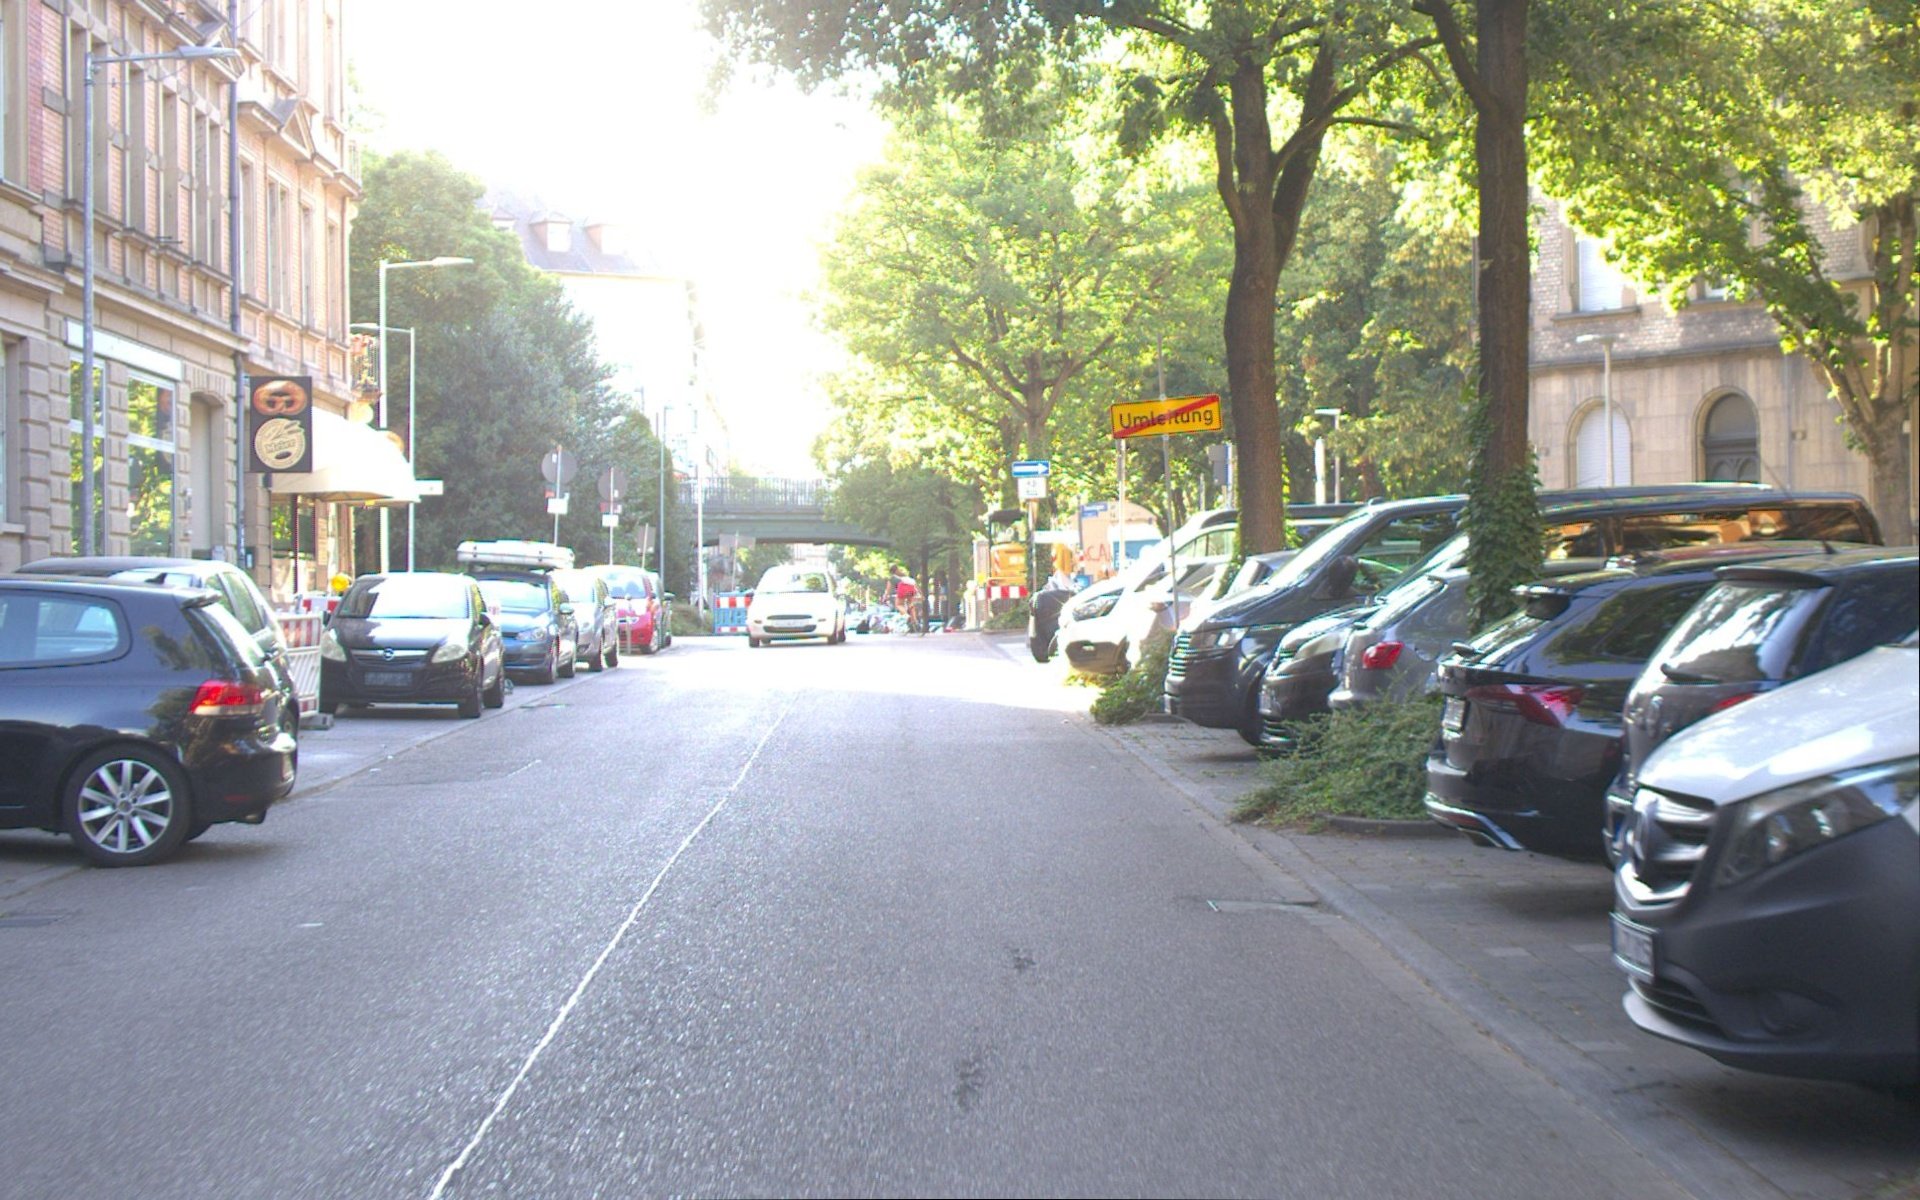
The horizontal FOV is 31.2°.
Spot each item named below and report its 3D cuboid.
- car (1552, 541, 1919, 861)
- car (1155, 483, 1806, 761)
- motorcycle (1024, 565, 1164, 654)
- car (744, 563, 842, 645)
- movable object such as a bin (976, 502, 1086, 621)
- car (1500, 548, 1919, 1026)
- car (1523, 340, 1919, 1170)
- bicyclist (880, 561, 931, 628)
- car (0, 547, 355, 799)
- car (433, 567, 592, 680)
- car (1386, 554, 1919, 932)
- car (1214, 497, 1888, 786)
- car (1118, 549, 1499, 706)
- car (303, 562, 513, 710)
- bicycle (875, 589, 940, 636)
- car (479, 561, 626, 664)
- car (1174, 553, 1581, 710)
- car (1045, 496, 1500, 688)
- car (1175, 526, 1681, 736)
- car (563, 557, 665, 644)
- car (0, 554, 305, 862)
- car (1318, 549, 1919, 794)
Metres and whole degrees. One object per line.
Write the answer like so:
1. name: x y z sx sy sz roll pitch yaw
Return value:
1. car: 5.174 0.443 17.191 4.081 1.492 1.843 -1 1 0
2. car: 3.918 0.146 26.425 4.614 2.007 2.000 -1 1 -3
3. motorcycle: 2.041 0.139 52.713 2.023 1.280 0.904 -2 1 -2
4. car: -3.150 0.051 65.532 1.749 1.504 4.000 0 1 -1
5. movable object such as a bin: 1.658 -0.883 79.601 1.994 2.690 3.108 0 0 12
6. car: 4.105 0.536 12.031 3.986 1.469 1.782 -2 1 -8
7. car: 4.242 0.389 9.135 5.091 1.933 2.158 0 -3 -1
8. bicyclist: -1.142 -0.122 72.273 0.803 1.379 0.985 1 0 -18
9. car: -5.349 0.433 23.527 1.741 1.562 3.895 -1 1 -1
10. car: -5.977 0.287 46.331 1.764 1.432 4.301 0 1 -3
11. car: 4.121 0.535 14.514 4.369 1.450 1.934 -1 1 0
12. car: 4.040 0.259 23.952 4.267 1.878 1.940 -1 1 -4
13. car: 3.659 0.275 36.532 3.840 1.590 1.741 0 1 -1
14. car: -5.745 0.332 36.159 1.703 1.449 4.020 -1 1 -2
15. bicycle: -1.114 0.258 72.202 0.803 0.965 2.109 1 0 -17
16. car: -6.068 0.159 51.548 1.725 1.432 3.996 2 1 -1
17. car: 4.156 0.295 34.648 3.840 1.510 1.848 0 1 -1
18. car: 3.513 -0.101 39.331 4.973 2.089 2.106 0 1 -1
19. car: 3.924 0.244 29.257 3.986 1.686 1.800 -1 1 -2
20. car: -6.203 -0.002 61.880 1.669 1.525 4.000 0 0 -3
21. car: -5.556 0.554 18.121 3.986 1.524 1.826 -1 1 -7
22. car: 4.299 0.418 21.595 3.987 1.443 1.890 -1 1 4
